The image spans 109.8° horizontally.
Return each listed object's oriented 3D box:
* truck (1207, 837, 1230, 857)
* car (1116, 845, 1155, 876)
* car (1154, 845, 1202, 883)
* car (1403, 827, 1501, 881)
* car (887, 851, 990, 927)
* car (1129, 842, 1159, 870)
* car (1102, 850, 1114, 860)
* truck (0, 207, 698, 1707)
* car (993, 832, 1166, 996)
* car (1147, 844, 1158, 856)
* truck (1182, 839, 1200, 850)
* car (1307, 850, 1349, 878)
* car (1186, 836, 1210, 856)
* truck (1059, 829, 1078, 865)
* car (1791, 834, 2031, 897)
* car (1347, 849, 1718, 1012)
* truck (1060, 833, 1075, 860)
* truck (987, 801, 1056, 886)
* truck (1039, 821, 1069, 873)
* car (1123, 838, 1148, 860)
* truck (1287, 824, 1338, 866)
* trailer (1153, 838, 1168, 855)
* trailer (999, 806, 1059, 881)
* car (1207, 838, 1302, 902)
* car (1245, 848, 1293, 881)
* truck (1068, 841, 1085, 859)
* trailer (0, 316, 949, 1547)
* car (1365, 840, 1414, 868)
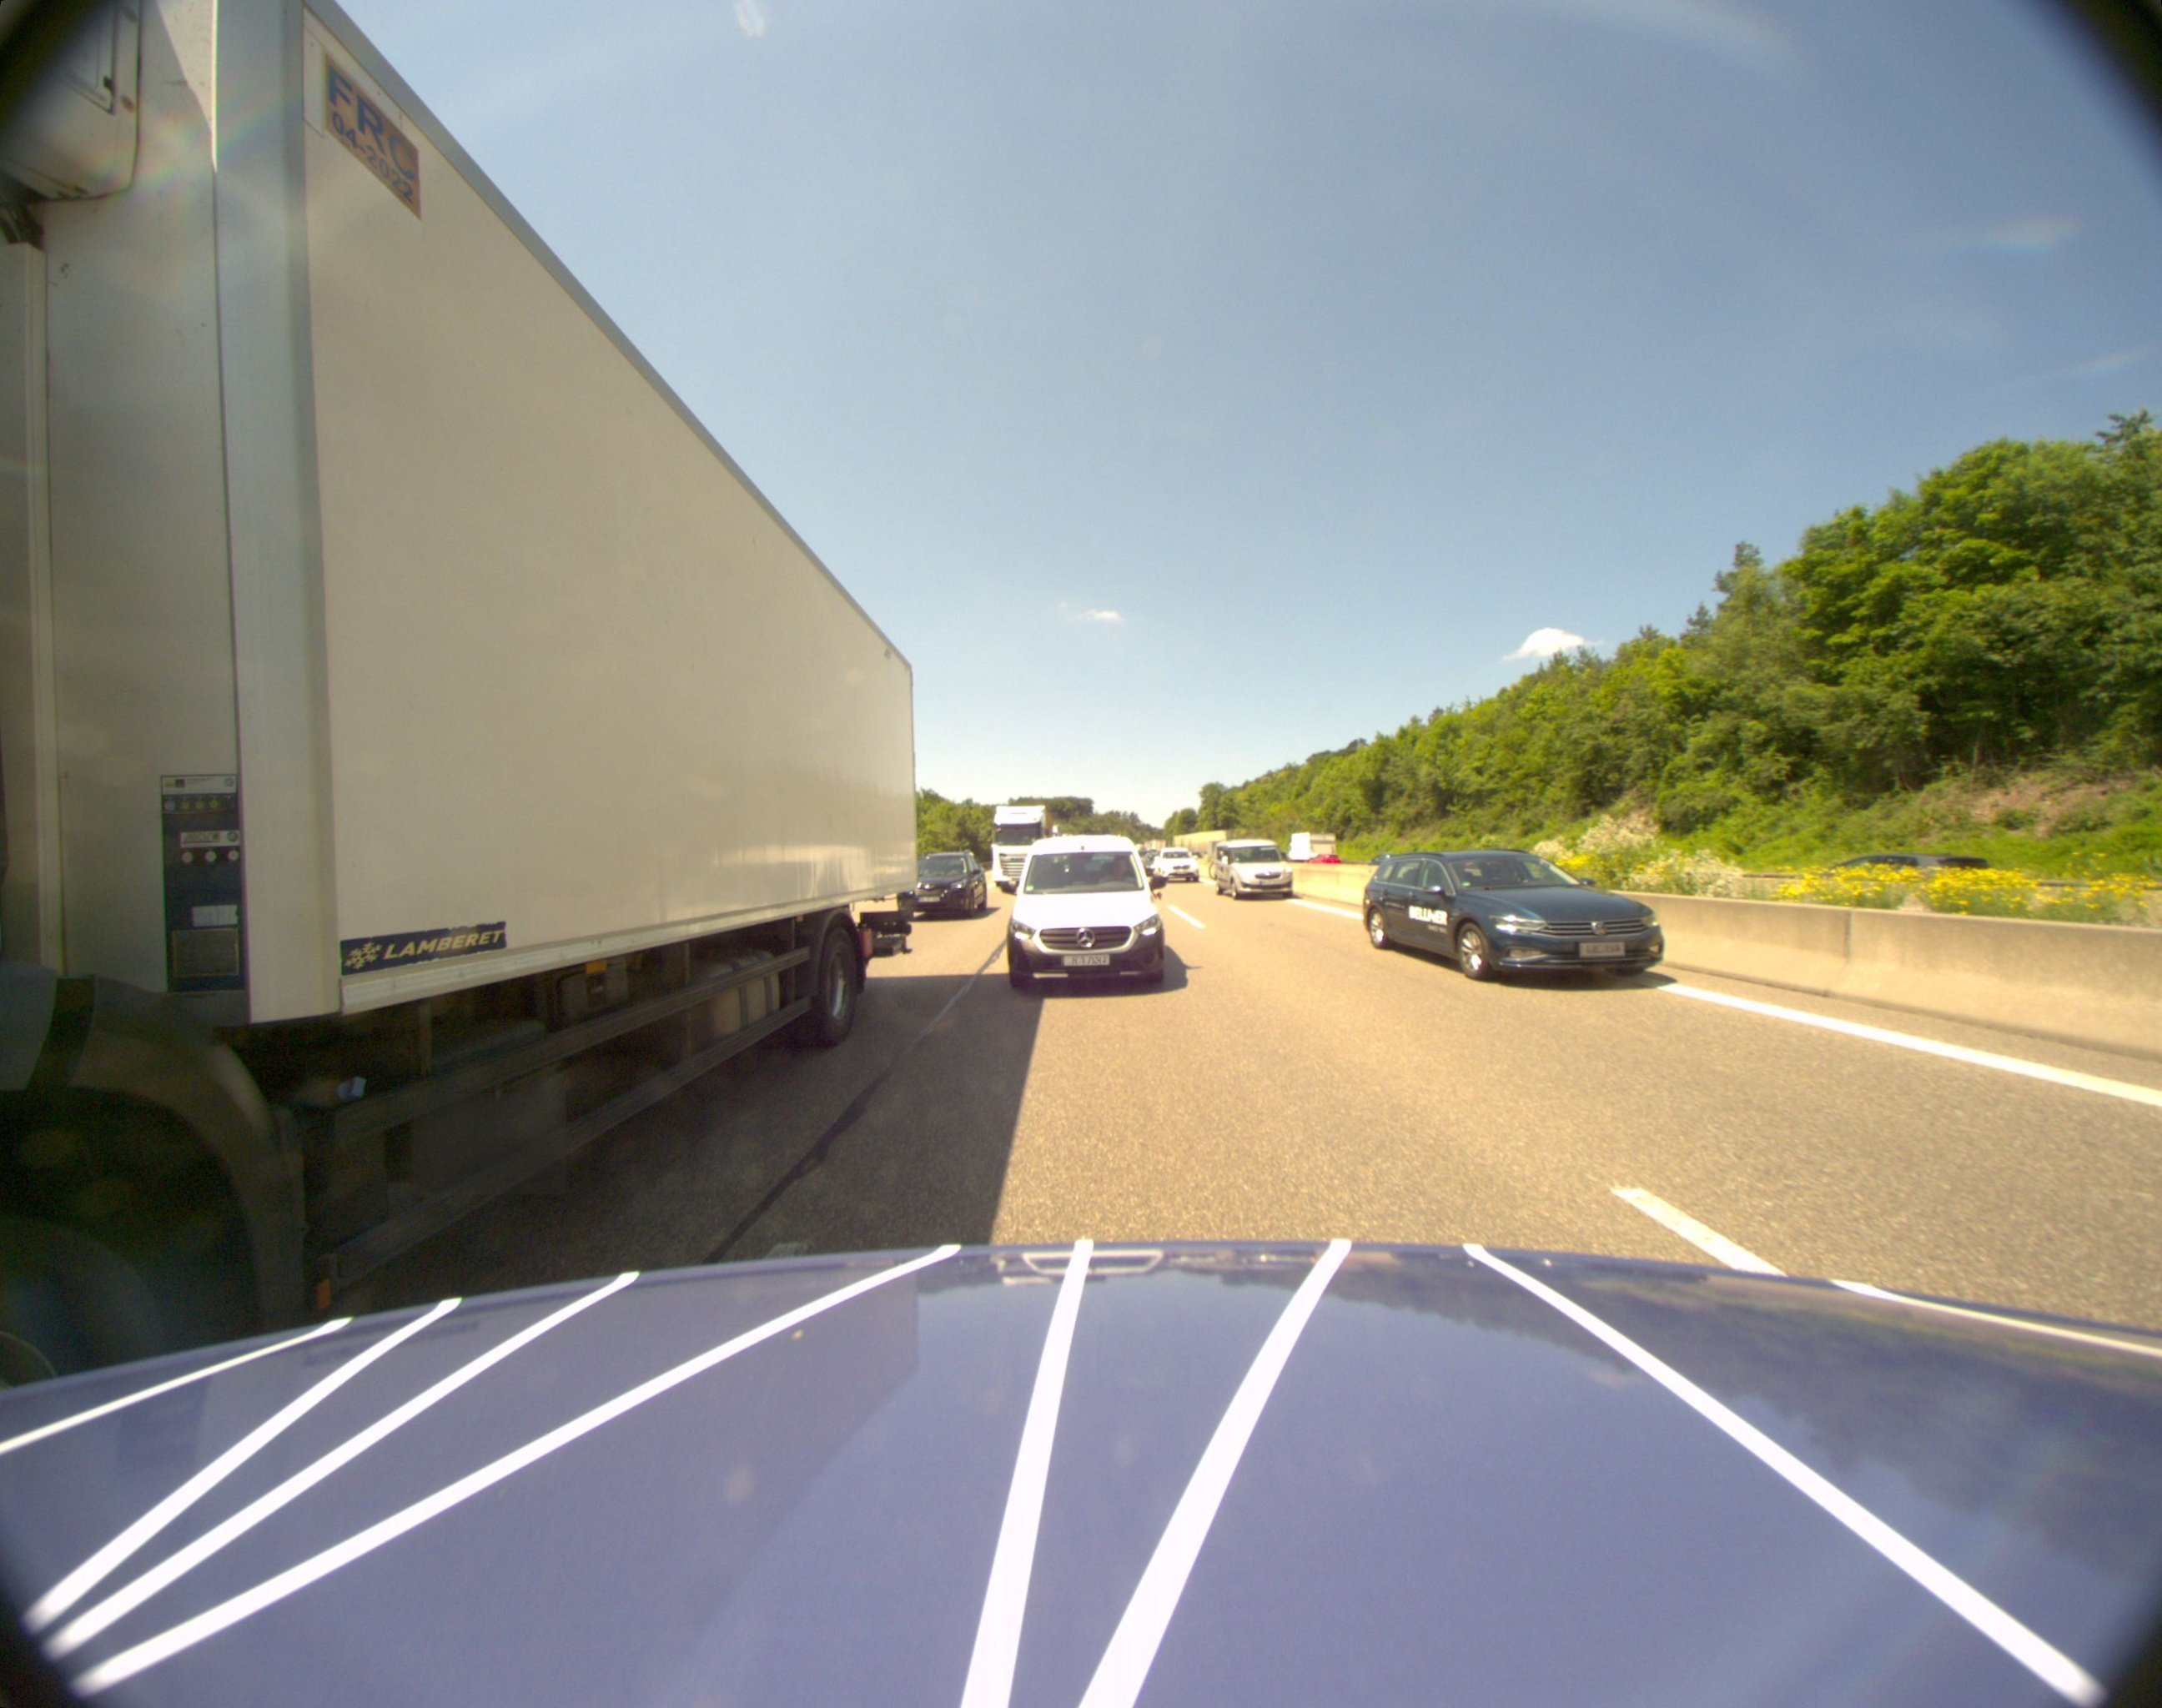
[{"bbox_3d":[20.583,-1.114,114.316,2.183,2.868,6.740,-2,1,0],"label":"truck"},{"bbox_3d":[3.333,0.350,47.506,1.999,1.747,3.998,-2,1,-1],"label":"car"},{"bbox_3d":[4.761,0.463,37.727,1.824,1.696,3.999,-2,1,1],"label":"car"},{"bbox_3d":[15.006,-0.035,30.990,1.999,2.002,3.999,-2,1,-1],"label":"car"},{"bbox_3d":[-3.638,0.816,20.254,1.999,1.682,4.609,-1,1,-2],"label":"car"},{"bbox_3d":[4.813,0.174,58.160,1.998,2.001,4.001,-1,-1,1],"label":"car"},{"bbox_3d":[4.759,0.199,133.710,1.803,1.660,4.000,-2,0,-1],"label":"car"},{"bbox_3d":[-3.240,0.287,1.647,2.562,2.924,4.103,-1,2,2],"label":"truck"},{"bbox_3d":[0.023,0.586,10.170,1.756,1.681,4.363,-2,1,1],"label":"car"},{"bbox_3d":[13.052,-0.813,138.429,1.998,2.002,4.958,-2,1,6],"label":"car"},{"bbox_3d":[20.591,-1.870,142.977,2.357,2.002,6.490,-2,1,-1],"label":"truck"},{"bbox_3d":[19.722,0.760,60.771,1.999,2.002,3.999,-2,1,0],"label":"car"},{"bbox_3d":[12.382,-0.830,80.804,1.998,2.002,3.999,-2,1,1],"label":"car"},{"bbox_3d":[-1.561,-0.859,99.172,2.187,4.438,10.868,-2,0,0],"label":"truck"},{"bbox_3d":[21.590,0.231,20.055,1.998,1.439,3.999,-2,1,1],"label":"car"},{"bbox_3d":[5.094,0.710,9.527,1.879,1.442,4.677,-2,1,1],"label":"car"},{"bbox_3d":[-2.056,-1.074,120.402,2.187,4.073,10.868,-2,0,0],"label":"truck"},{"bbox_3d":[-3.000,-0.589,40.386,2.766,4.061,7.332,-2,1,1],"label":"truck"},{"bbox_3d":[-2.467,-0.625,71.524,2.394,4.438,10.868,-2,0,0],"label":"truck"},{"bbox_3d":[5.257,-0.518,73.512,1.999,2.002,3.998,-2,1,-2],"label":"car"},{"bbox_3d":[23.455,-0.927,77.323,2.699,3.967,7.988,-2,1,1],"label":"truck"},{"bbox_3d":[21.156,-2.116,202.883,2.956,4.456,10.814,-2,1,0],"label":"trailer"},{"bbox_3d":[-2.978,-0.707,46.903,2.766,4.061,11.614,0,1,1],"label":"trailer"},{"bbox_3d":[5.411,0.414,24.362,1.857,1.762,4.916,-2,1,0],"label":"car"},{"bbox_3d":[11.539,0.602,46.886,1.911,1.871,3.999,-2,1,0],"label":"car"},{"bbox_3d":[-1.277,-0.902,194.268,4.084,4.403,11.396,-2,0,-1],"label":"truck"},{"bbox_3d":[-3.127,0.208,5.751,2.562,2.882,7.882,-2,1,2],"label":"trailer"},{"bbox_3d":[23.233,-0.050,57.380,1.999,2.002,3.999,-2,1,0],"label":"car"}]
